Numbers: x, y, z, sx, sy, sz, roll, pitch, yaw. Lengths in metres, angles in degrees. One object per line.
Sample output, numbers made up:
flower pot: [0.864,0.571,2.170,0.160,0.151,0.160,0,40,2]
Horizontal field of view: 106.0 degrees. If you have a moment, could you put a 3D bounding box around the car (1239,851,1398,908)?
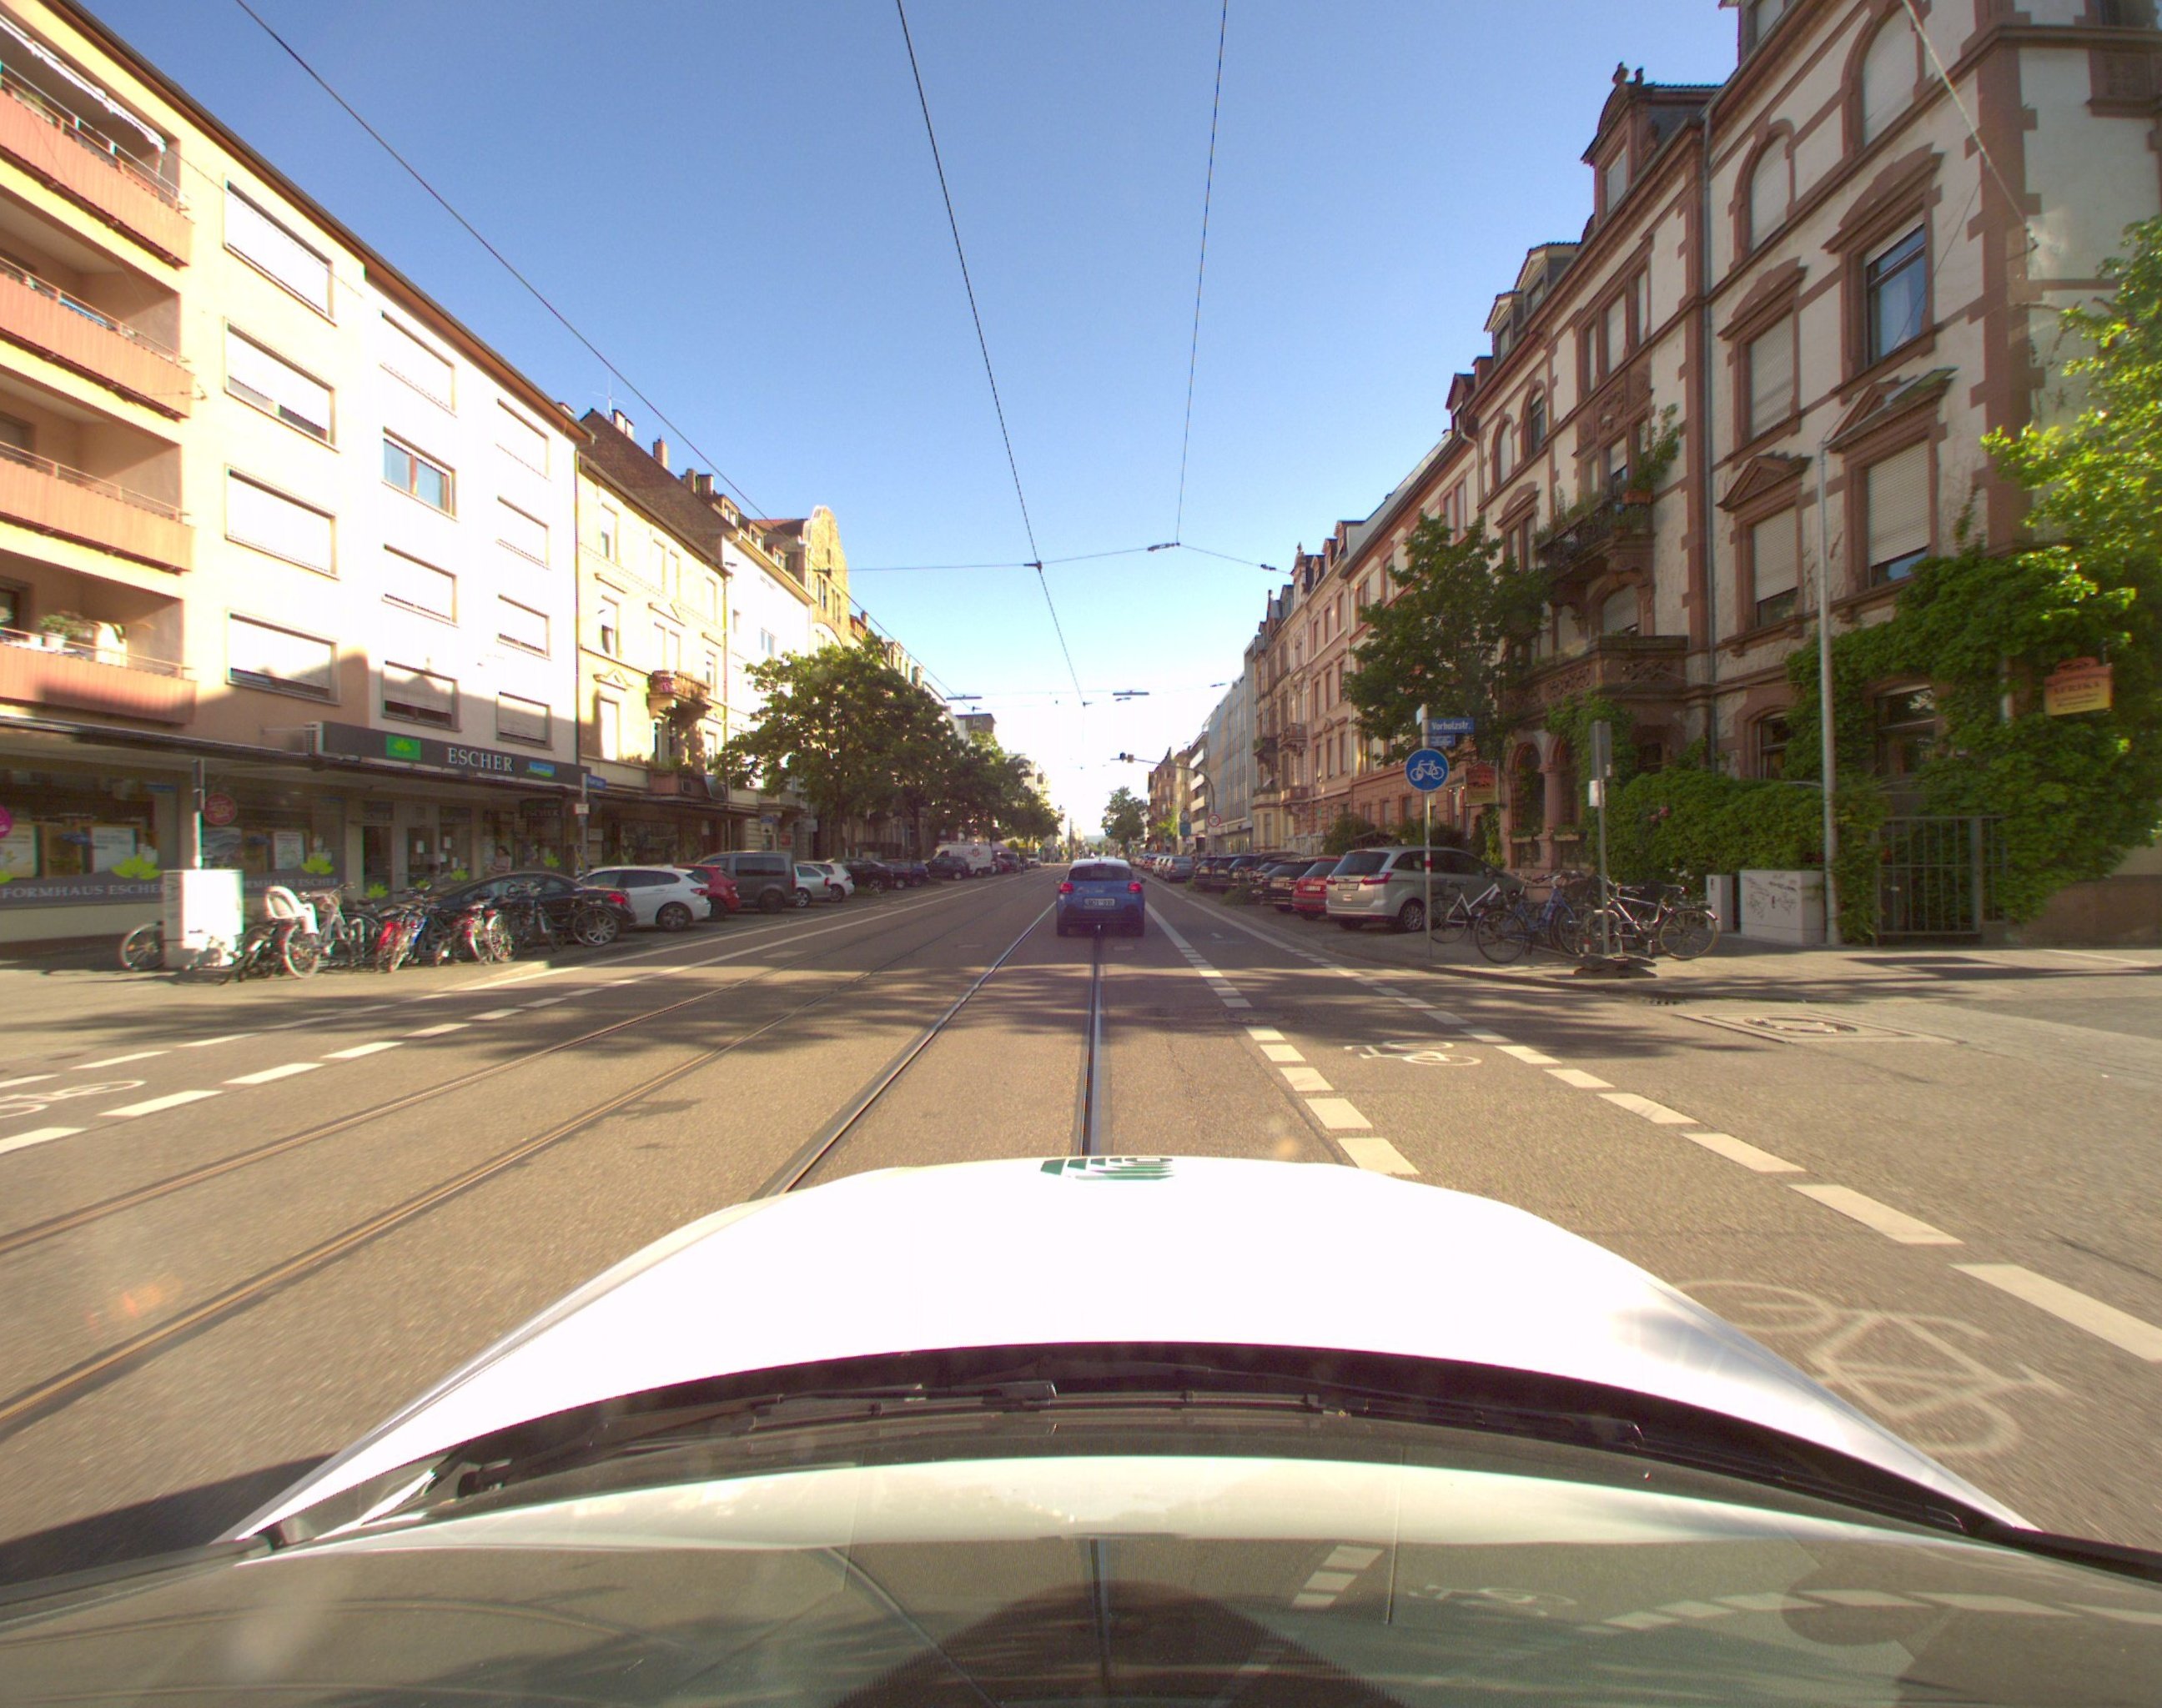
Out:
car: [7.169,0.711,24.613,4.337,1.596,2.029,0,-1,-23]

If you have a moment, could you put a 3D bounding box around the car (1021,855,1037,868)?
car: [-6.067,0.887,95.915,1.742,1.487,4.039,0,0,-2]

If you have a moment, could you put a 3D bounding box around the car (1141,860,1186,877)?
car: [7.655,1.327,75.549,3.743,1.521,1.949,0,-1,-32]

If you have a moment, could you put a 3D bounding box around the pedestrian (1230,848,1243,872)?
pedestrian: [11.022,0.434,57.869,0.709,1.607,0.654,-3,-1,0]

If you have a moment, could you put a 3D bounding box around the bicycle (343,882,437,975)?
bicycle: [-10.094,1.036,11.970,0.686,1.123,1.870,-1,2,-29]

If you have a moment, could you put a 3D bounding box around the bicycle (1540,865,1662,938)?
bicycle: [8.230,0.738,12.939,1.547,1.127,0.552,0,-1,7]

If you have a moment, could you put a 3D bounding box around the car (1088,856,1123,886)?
car: [1.364,0.897,45.014,1.866,1.596,4.002,0,0,2]

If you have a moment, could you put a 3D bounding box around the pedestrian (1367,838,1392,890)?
pedestrian: [9.597,0.309,26.180,0.516,1.648,0.864,0,-1,2]

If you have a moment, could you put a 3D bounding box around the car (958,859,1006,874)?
car: [-8.581,1.095,70.604,3.815,1.265,1.504,0,-1,-25]

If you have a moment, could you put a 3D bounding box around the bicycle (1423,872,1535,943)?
bicycle: [6.149,0.818,12.614,1.547,1.079,0.308,0,-1,7]

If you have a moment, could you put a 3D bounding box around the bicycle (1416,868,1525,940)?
bicycle: [6.178,0.784,12.958,1.551,1.127,0.295,0,-1,7]

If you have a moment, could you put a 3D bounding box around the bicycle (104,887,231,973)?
bicycle: [-13.285,1.064,11.905,0.404,1.109,1.825,-1,-1,-20]

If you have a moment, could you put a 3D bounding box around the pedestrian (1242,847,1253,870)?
pedestrian: [11.881,0.344,58.141,0.709,1.607,0.654,0,-1,0]

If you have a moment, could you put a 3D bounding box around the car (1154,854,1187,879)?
car: [5.810,0.803,53.160,1.866,1.596,4.002,0,0,2]

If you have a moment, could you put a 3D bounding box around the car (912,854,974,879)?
car: [-9.558,0.847,56.406,4.005,1.618,1.699,0,-1,-24]

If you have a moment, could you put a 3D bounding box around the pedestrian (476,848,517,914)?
pedestrian: [-14.844,0.682,20.686,0.567,1.652,0.641,0,-1,1]

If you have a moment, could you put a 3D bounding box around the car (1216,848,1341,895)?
car: [7.097,0.613,29.283,4.004,1.596,1.944,0,-1,-23]

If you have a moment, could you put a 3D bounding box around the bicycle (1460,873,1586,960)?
bicycle: [5.881,0.821,10.879,1.392,1.127,0.551,0,-1,1]

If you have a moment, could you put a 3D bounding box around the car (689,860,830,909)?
car: [-10.381,0.933,26.372,4.032,1.449,1.682,0,-1,-31]

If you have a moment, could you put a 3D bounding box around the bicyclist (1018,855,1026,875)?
bicyclist: [-5.079,0.938,70.242,0.632,1.681,0.727,0,-1,1]

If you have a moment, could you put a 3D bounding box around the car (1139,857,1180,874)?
car: [7.522,1.067,78.024,3.463,1.555,1.806,0,-1,-31]

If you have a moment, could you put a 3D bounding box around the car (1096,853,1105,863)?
car: [2.927,0.648,121.215,1.417,1.432,3.140,0,0,2]

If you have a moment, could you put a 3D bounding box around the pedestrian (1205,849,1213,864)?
pedestrian: [13.375,0.294,85.089,0.690,1.588,0.678,0,-1,1]

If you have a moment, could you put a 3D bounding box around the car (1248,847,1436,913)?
car: [6.841,0.637,21.394,4.454,1.596,2.072,0,-1,-23]

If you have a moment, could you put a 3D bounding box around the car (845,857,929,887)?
car: [-10.220,0.913,42.932,4.008,1.489,1.790,0,-1,-27]

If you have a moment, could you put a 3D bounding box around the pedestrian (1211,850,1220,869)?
pedestrian: [12.210,0.503,73.925,0.690,1.756,0.678,0,-1,1]

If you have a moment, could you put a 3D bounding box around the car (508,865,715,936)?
car: [-10.259,0.949,17.981,3.804,1.400,1.737,0,-1,-32]

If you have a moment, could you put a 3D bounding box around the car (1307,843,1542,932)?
car: [6.880,0.613,16.305,4.370,1.596,1.839,0,-1,-23]

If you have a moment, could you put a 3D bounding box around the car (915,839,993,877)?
car: [-9.317,0.289,59.755,5.402,2.749,1.789,0,-1,-29]

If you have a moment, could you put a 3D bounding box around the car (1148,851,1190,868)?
car: [8.759,0.588,81.448,3.743,1.652,2.027,0,-1,-32]

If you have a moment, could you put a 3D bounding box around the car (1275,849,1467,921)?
car: [6.753,0.672,18.999,4.004,1.536,1.904,0,-1,-23]

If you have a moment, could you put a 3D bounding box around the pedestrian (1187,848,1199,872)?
pedestrian: [7.514,0.376,54.733,0.709,1.607,0.654,0,-1,0]

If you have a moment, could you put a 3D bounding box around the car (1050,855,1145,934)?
car: [0.347,0.760,16.815,1.756,1.441,3.557,0,0,1]

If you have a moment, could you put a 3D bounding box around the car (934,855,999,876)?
car: [-9.037,0.865,64.452,4.787,1.618,1.695,0,-1,-31]

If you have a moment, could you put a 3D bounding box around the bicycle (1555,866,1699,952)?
bicycle: [7.416,0.734,11.108,1.547,1.127,0.529,0,-1,7]

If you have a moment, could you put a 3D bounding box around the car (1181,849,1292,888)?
car: [6.658,0.589,34.849,4.322,1.596,1.967,0,-1,-23]

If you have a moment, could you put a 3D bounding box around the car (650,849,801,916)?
car: [-10.282,0.779,23.607,3.835,1.785,1.779,0,-1,-31]

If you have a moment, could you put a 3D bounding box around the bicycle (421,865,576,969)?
bicycle: [-8.767,0.884,12.427,0.680,1.319,2.434,0,2,-2]

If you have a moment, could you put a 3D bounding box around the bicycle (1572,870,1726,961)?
bicycle: [7.320,0.777,10.548,1.547,1.127,0.552,0,-1,7]

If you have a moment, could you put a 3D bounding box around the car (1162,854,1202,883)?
car: [5.744,0.825,46.880,1.866,1.596,4.721,0,0,2]

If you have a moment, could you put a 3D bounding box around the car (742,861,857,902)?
car: [-10.297,0.969,29.783,3.850,1.430,1.752,0,-1,-25]

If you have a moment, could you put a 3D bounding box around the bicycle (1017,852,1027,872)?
bicycle: [-5.095,0.676,70.210,0.678,1.678,2.097,0,-1,2]

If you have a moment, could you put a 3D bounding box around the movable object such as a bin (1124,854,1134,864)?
movable object such as a bin: [7.392,0.770,125.376,1.389,1.483,1.656,0,-1,1]

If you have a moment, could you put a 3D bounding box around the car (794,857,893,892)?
car: [-10.740,0.903,36.909,4.013,1.489,1.849,0,-1,-31]

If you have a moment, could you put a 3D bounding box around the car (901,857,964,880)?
car: [-9.912,0.925,54.244,3.994,1.489,1.797,0,-1,-15]

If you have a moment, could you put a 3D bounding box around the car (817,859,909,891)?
car: [-10.653,0.991,39.790,4.013,1.489,1.788,0,-1,-31]

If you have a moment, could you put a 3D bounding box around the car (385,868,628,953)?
car: [-10.381,0.956,14.986,3.483,1.337,1.608,0,-1,-33]

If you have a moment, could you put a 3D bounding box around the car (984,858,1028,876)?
car: [-6.876,1.206,74.857,3.736,1.622,1.777,0,-1,-20]

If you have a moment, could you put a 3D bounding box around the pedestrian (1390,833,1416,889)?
pedestrian: [10.325,0.227,26.135,0.516,1.778,0.864,0,-1,2]

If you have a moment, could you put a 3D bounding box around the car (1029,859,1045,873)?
car: [-5.851,1.563,108.870,1.825,1.848,4.215,0,0,2]

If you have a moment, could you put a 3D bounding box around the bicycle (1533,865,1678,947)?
bicycle: [7.492,0.731,11.688,1.665,1.127,0.552,0,-1,7]

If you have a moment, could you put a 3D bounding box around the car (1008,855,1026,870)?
car: [-7.116,0.929,90.314,1.742,1.618,4.408,0,0,-2]

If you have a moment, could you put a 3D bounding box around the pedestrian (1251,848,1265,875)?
pedestrian: [10.869,0.448,49.933,0.709,1.607,0.654,0,-1,0]

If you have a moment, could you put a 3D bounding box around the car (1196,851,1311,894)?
car: [6.798,0.689,32.139,4.004,1.596,2.071,0,-1,-23]

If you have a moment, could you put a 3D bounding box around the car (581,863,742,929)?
car: [-10.547,1.001,20.638,3.479,1.473,1.634,-1,0,-28]

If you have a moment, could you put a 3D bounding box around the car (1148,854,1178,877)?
car: [5.866,0.833,58.308,1.866,1.596,4.002,0,0,2]

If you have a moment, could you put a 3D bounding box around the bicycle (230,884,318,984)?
bicycle: [-11.216,1.048,11.288,2.405,1.109,0.688,2,2,41]

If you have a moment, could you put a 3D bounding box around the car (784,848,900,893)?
car: [-10.053,0.674,34.325,4.381,1.783,1.976,0,-1,-31]
